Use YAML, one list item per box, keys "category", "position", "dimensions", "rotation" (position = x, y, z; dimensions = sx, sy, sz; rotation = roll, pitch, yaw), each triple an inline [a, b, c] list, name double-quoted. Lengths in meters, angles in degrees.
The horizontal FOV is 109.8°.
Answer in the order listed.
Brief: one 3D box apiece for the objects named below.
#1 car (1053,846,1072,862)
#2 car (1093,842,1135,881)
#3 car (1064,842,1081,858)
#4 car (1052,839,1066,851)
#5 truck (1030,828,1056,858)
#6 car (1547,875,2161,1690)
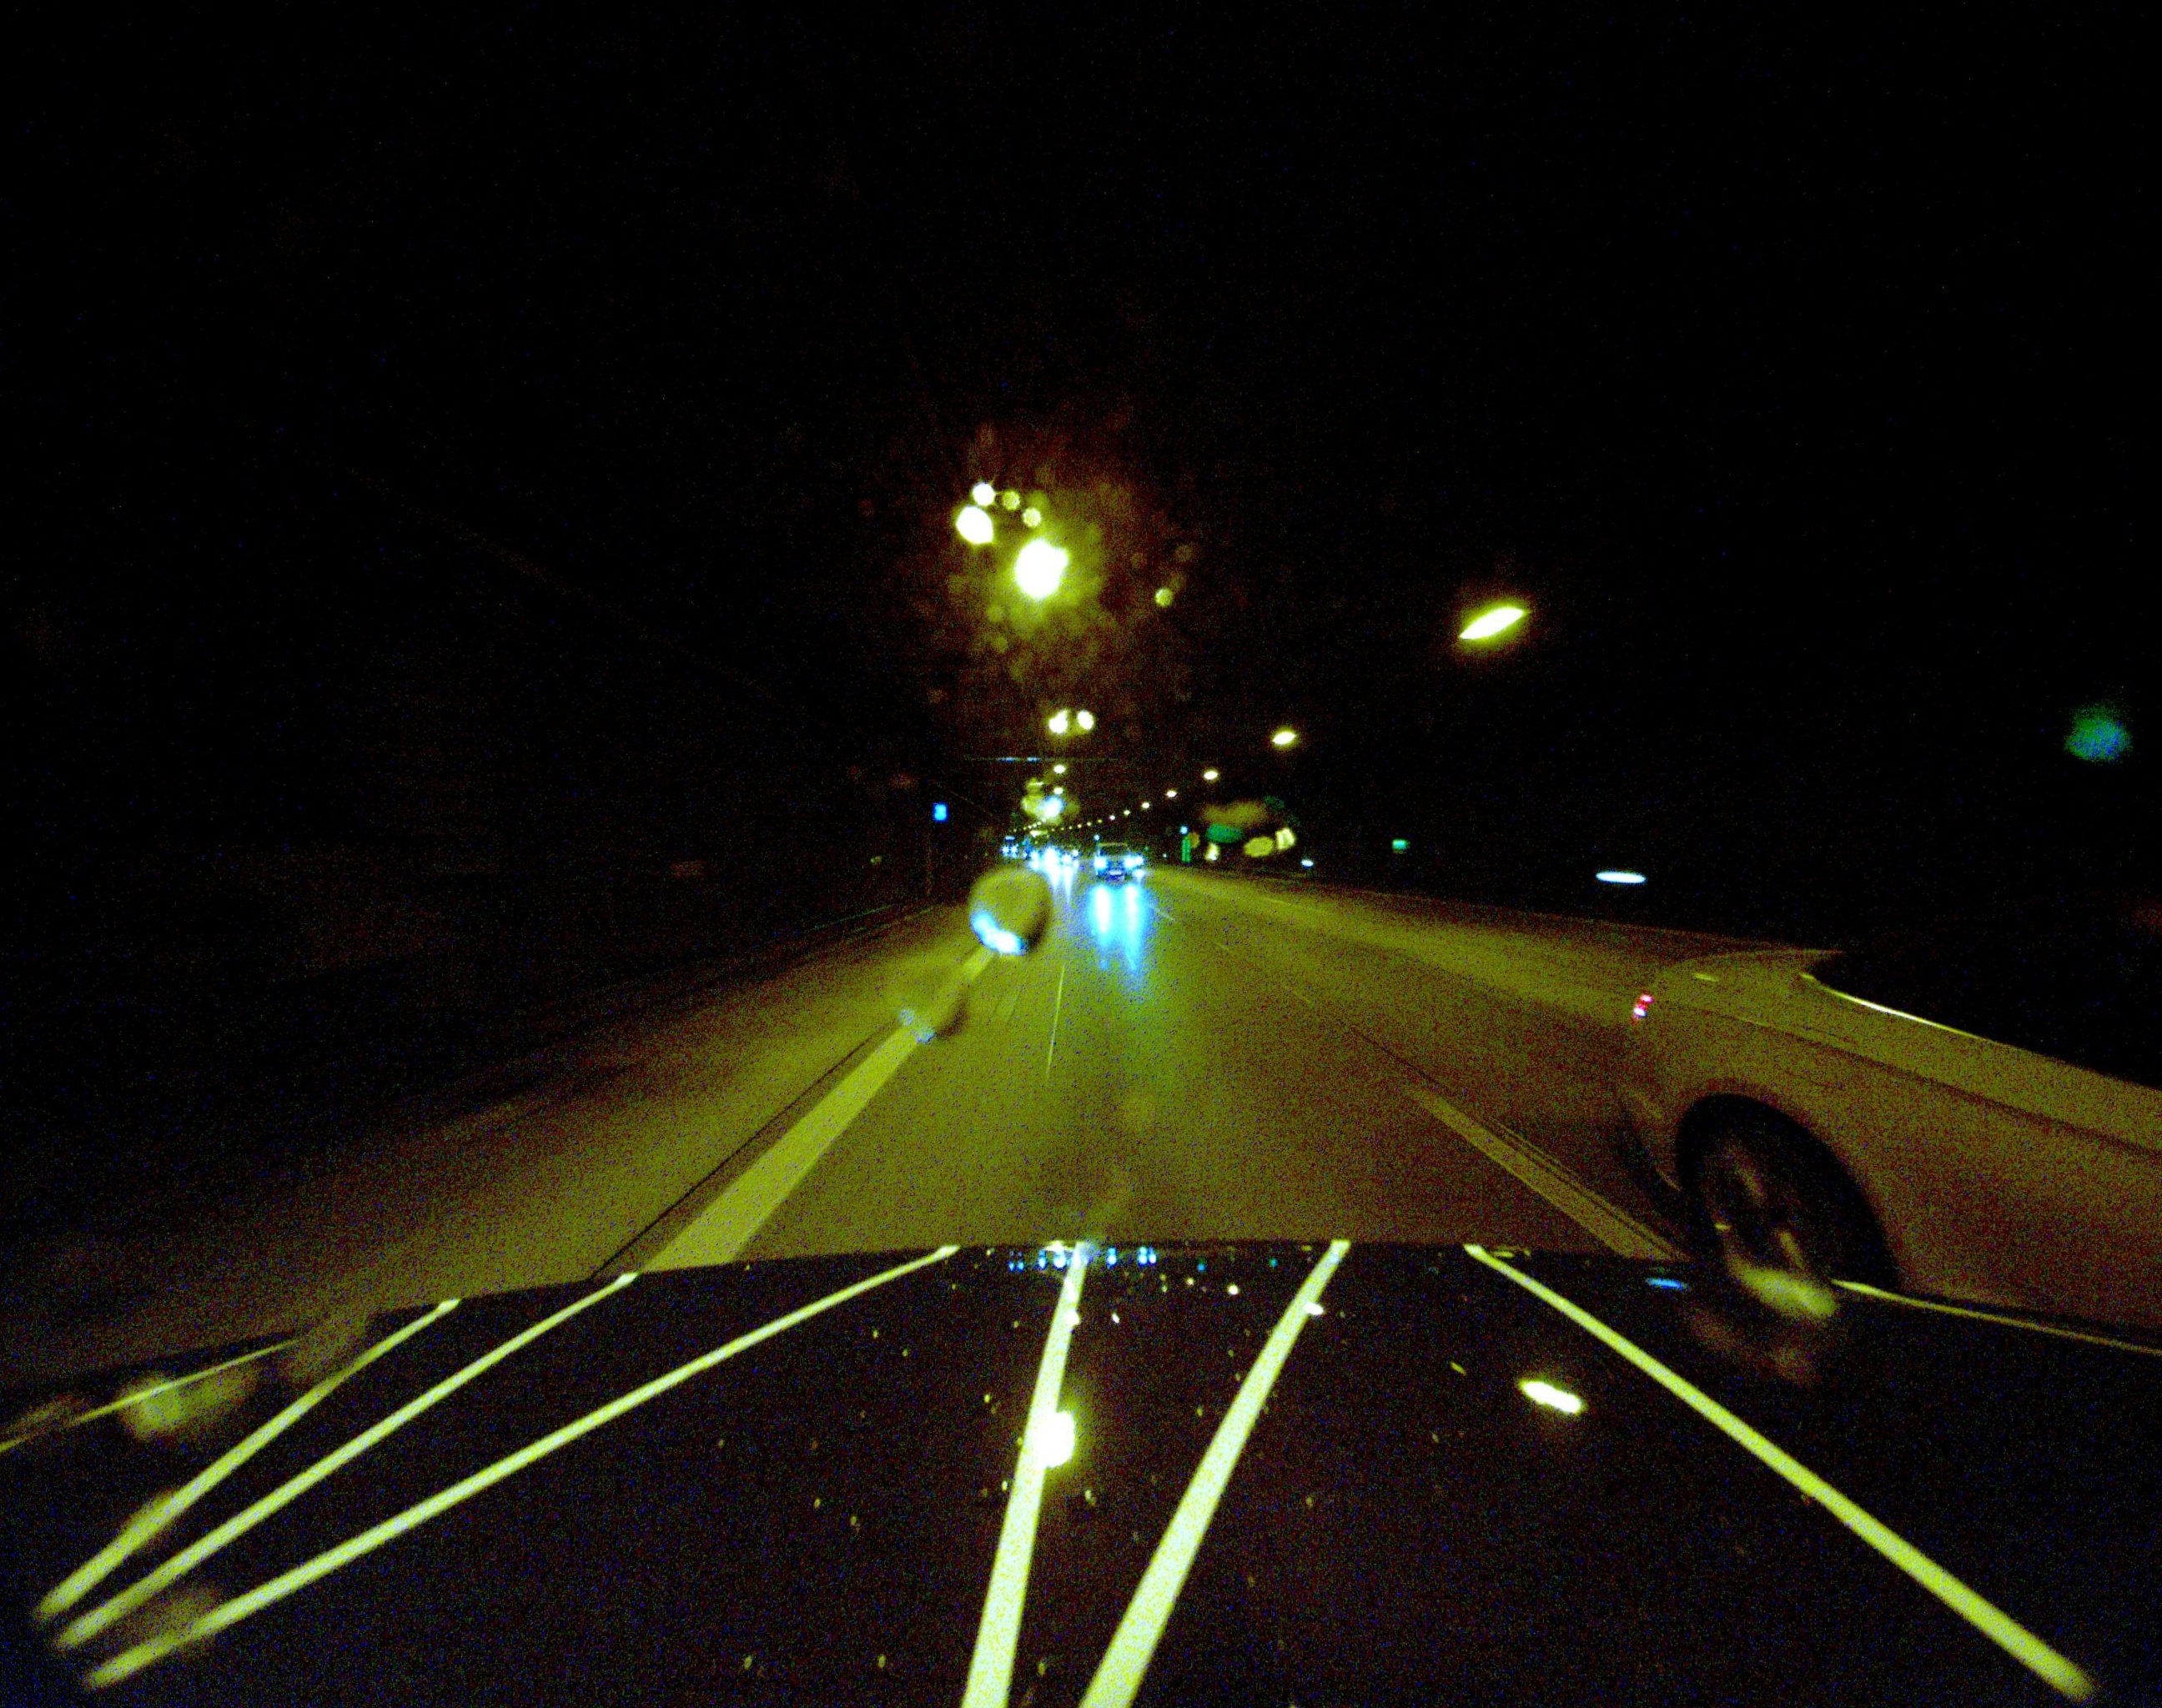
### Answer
- category: "car"
  position: [-1.936, -0.007, 77.014]
  dimensions: [1.759, 1.567, 3.998]
  rotation: [-1, 0, -4]
- category: "car"
  position: [1.783, 0.400, 41.919]
  dimensions: [1.999, 2.002, 4.359]
  rotation: [-2, 0, -1]
- category: "car"
  position: [-1.270, -0.652, 107.382]
  dimensions: [2.000, 2.003, 3.995]
  rotation: [-2, 3, -6]
- category: "car"
  position: [-3.695, -1.511, 125.536]
  dimensions: [1.999, 1.810, 3.995]
  rotation: [-2, 3, -5]
- category: "truck"
  position: [-5.601, -1.727, 110.860]
  dimensions: [3.144, 4.137, 7.380]
  rotation: [-2, 3, -7]
- category: "car"
  position: [2.853, 0.855, 0.804]
  dimensions: [1.706, 1.411, 5.059]
  rotation: [-1, 1, 1]
